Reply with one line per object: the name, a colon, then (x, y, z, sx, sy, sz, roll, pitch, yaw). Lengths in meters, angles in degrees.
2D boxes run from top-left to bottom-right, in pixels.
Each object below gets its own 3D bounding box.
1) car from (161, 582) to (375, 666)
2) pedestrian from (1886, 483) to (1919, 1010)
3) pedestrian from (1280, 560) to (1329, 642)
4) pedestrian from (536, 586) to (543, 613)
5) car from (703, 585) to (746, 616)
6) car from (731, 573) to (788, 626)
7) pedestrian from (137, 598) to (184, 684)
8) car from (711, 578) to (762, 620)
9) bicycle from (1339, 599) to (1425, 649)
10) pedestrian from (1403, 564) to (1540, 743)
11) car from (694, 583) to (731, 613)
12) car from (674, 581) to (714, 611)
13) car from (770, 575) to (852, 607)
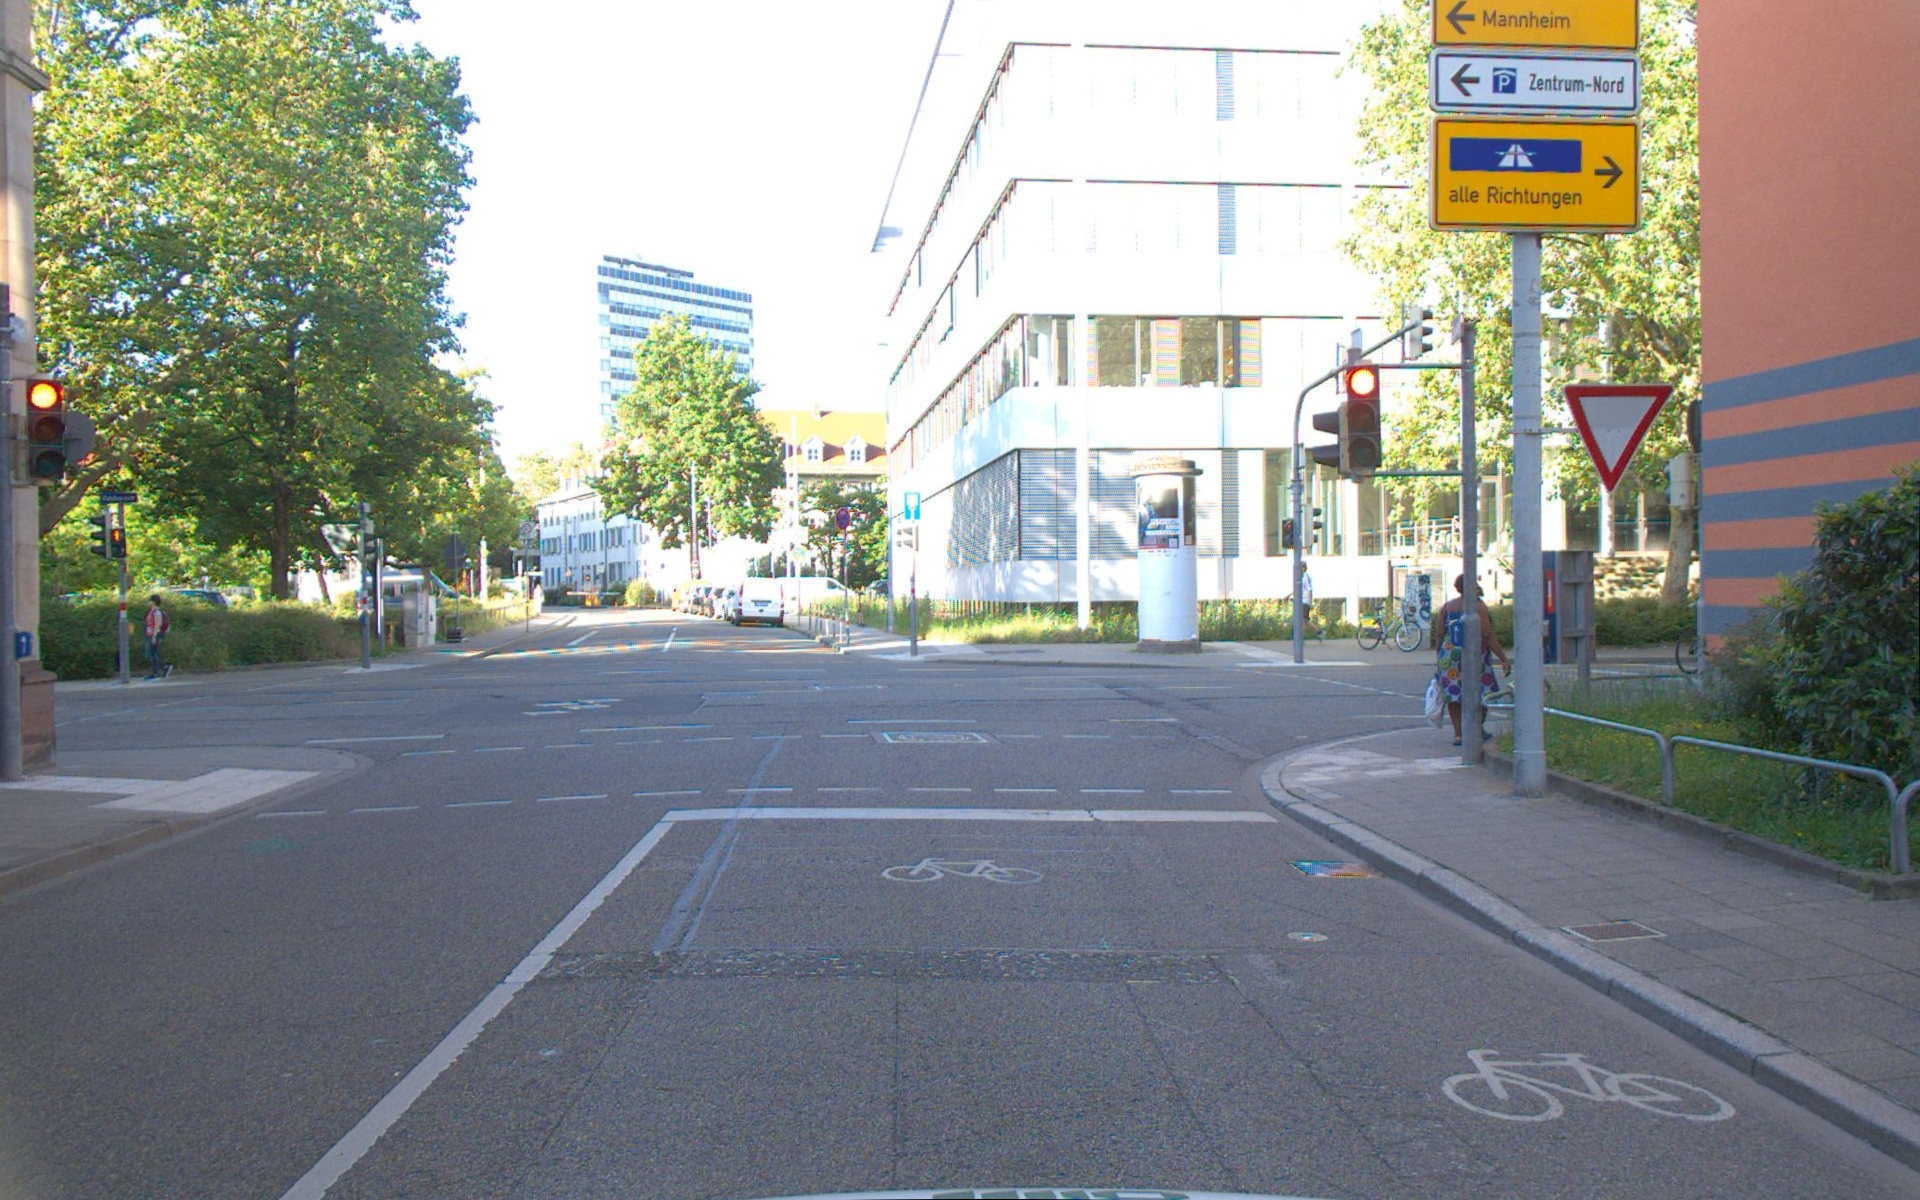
car: (-15.765, 0.524, 37.894, 4.146, 1.808, 1.901, -1, 0, -9)
pedestrian: (3.569, 0.496, 5.271, 0.631, 1.819, 0.916, -4, 0, 2)
pedestrian: (7.989, 0.021, 38.319, 1.016, 1.863, 0.539, -1, 0, 23)
pedestrian: (-24.198, -0.032, 95.201, 0.373, 1.561, 0.444, -1, 0, -13)
car: (-11.589, 0.022, 81.253, 1.675, 1.449, 4.223, -1, 1, -14)
car: (-7.862, -0.041, 64.511, 2.029, 1.997, 4.229, -1, 0, -9)
pedestrian: (-15.605, 0.790, 32.286, 0.707, 1.627, 0.609, -1, 0, -38)
car: (-10.352, -0.068, 76.391, 1.913, 1.826, 4.224, -1, 1, -13)
bicycle: (9.222, 0.520, 36.236, 0.460, 1.067, 1.886, -1, 0, -42)
pedestrian: (4.801, 0.503, 15.528, 0.938, 1.600, 0.747, -4, 0, 37)
car: (-12.850, -0.130, 85.631, 1.674, 1.490, 4.226, -1, 1, -11)
car: (-15.377, -0.247, 95.416, 2.063, 1.687, 4.463, -1, 1, -11)
car: (-9.255, -0.534, 102.639, 4.804, 1.905, 1.990, 1, -1, -17)
